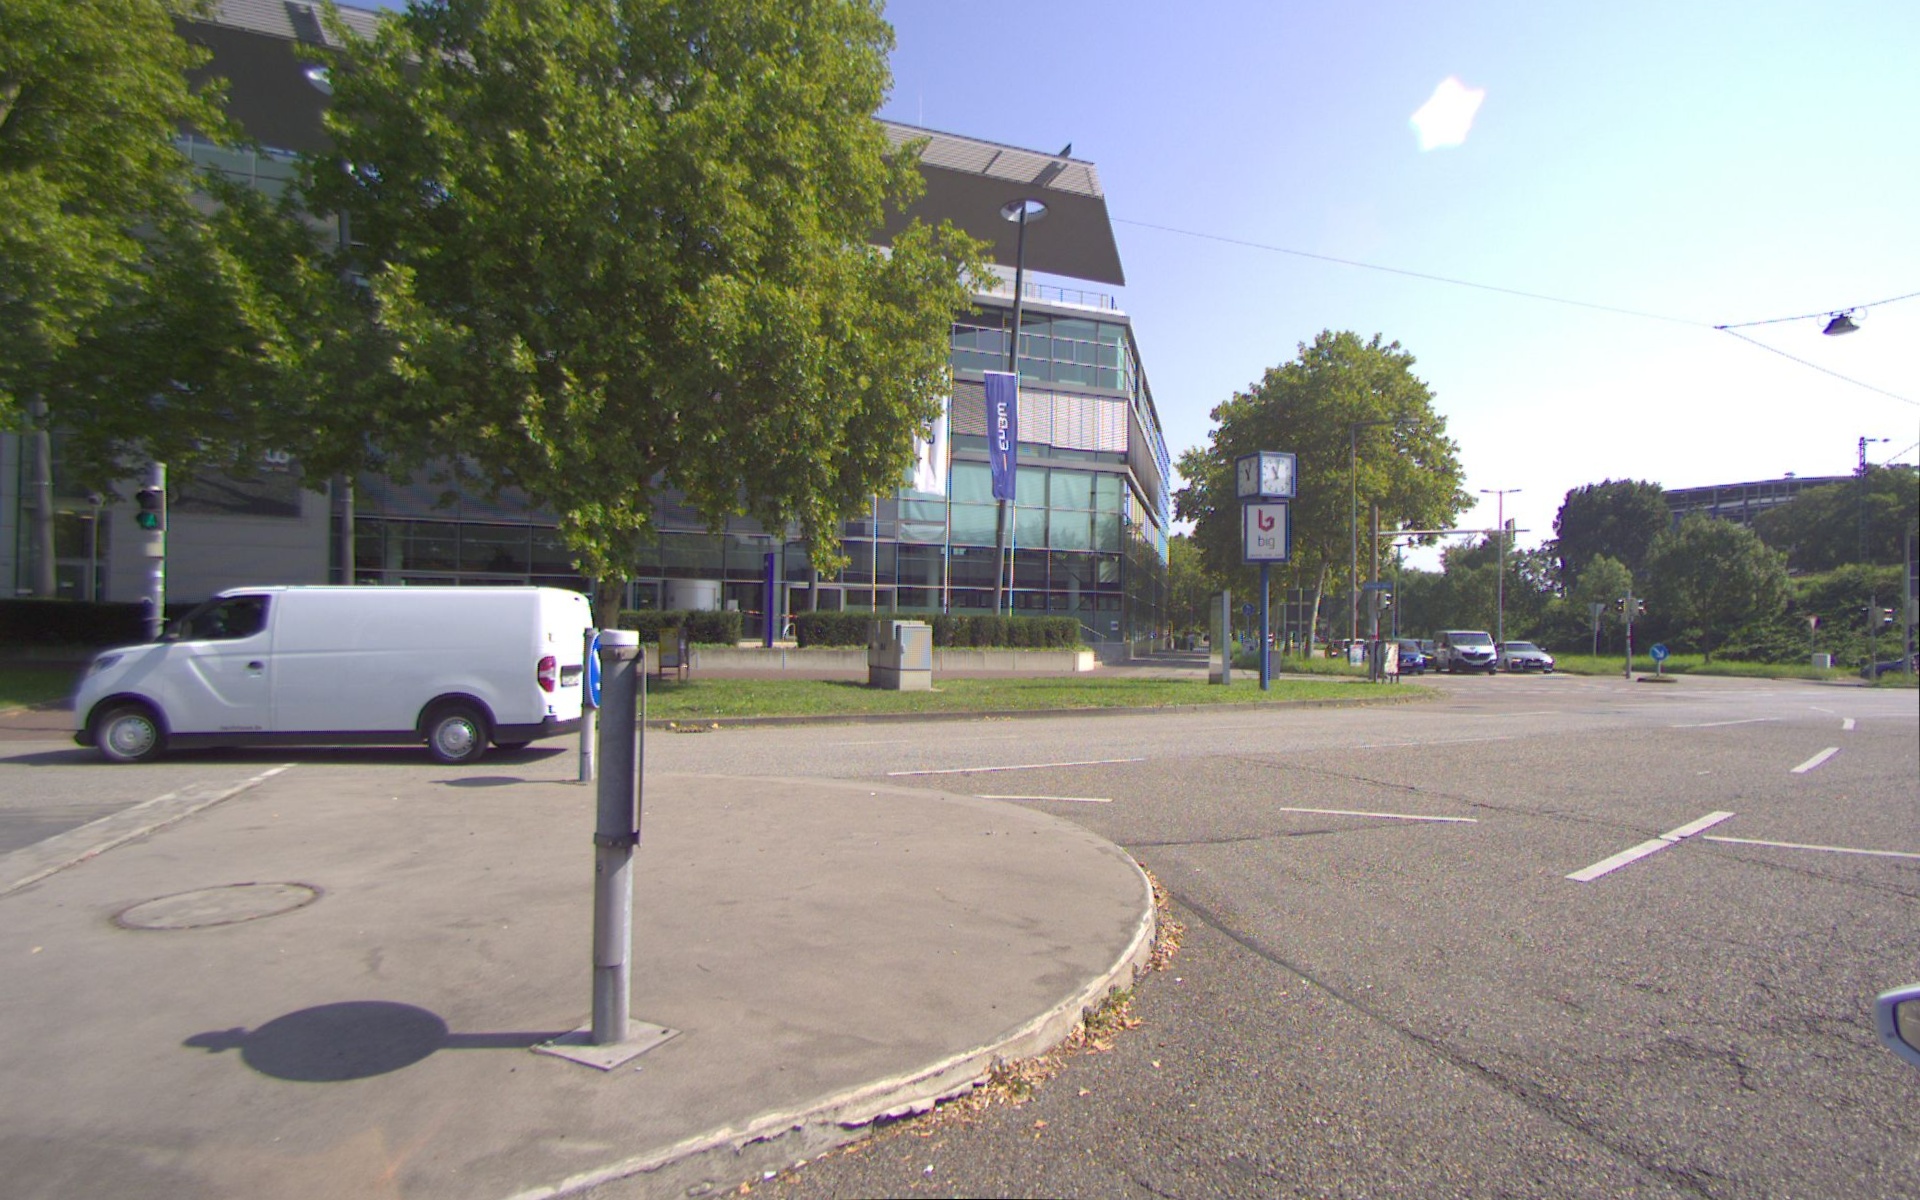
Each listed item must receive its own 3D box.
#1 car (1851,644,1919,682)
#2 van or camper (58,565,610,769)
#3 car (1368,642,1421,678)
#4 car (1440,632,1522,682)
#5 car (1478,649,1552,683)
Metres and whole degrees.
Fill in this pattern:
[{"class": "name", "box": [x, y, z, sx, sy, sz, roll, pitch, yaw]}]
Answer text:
[{"class": "car", "box": [41.242, 2.777, 43.379, 3.935, 1.447, 1.780, 3, 1, 36]}, {"class": "van or camper", "box": [-6.707, 0.743, 11.248, 4.852, 1.972, 1.847, 2, -3, -3]}, {"class": "car", "box": [19.449, 2.667, 45.125, 1.639, 1.555, 3.732, -1, -2, 15]}, {"class": "car", "box": [22.561, 2.403, 43.724, 1.894, 1.983, 5.216, 0, -1, 13]}, {"class": "car", "box": [25.766, 3.058, 46.816, 1.804, 1.462, 4.610, -1, -3, 13]}]
